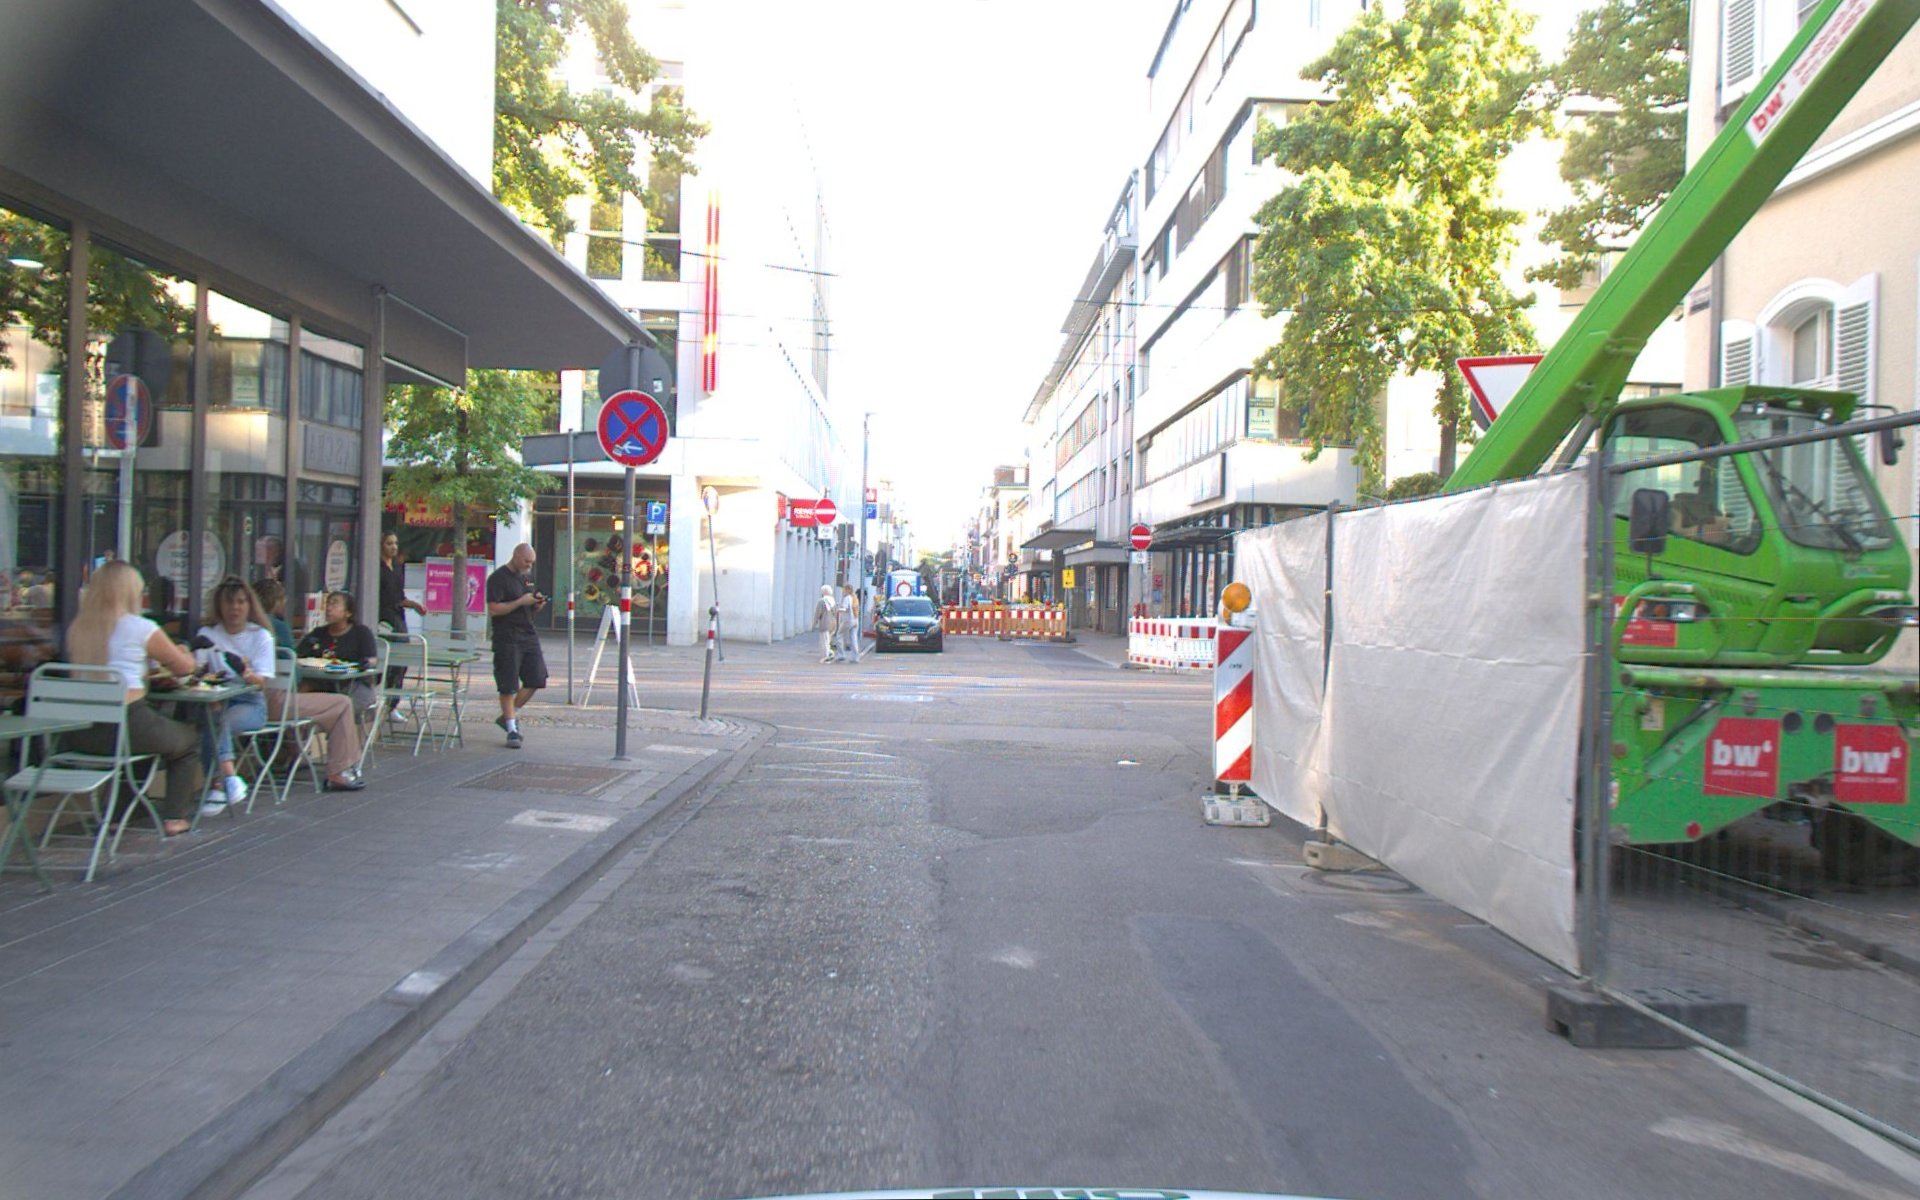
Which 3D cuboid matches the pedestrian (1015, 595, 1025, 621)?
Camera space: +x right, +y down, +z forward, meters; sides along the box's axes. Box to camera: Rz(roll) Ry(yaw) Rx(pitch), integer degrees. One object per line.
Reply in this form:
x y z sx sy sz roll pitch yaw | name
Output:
3.503 0.483 96.424 0.512 1.490 0.719 1 0 7 | pedestrian

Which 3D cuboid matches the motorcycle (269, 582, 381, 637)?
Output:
-11.177 0.162 29.157 1.722 0.936 0.640 1 0 -11 | motorcycle

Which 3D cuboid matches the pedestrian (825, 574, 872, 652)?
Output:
-2.397 0.274 35.556 0.858 1.656 0.607 1 0 44 | pedestrian

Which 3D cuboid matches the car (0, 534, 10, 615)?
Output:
-20.848 -0.570 34.186 1.922 1.531 3.963 1 3 -28 | car

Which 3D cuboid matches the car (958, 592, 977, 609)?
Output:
0.814 0.054 183.671 1.953 1.807 3.999 0 0 -1 | car

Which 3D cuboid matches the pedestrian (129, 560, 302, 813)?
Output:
-4.047 0.453 9.029 0.561 1.297 0.713 3 0 -1 | pedestrian

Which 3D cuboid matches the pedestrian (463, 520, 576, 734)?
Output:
-3.599 0.216 13.512 0.680 1.697 0.499 3 0 -38 | pedestrian

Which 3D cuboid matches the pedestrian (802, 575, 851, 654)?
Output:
-2.834 0.305 35.104 0.858 1.656 0.607 1 0 44 | pedestrian

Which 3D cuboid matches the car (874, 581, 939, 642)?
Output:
-1.469 0.289 44.347 1.597 1.577 3.140 1 0 -4 | car

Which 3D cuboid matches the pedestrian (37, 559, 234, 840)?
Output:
-4.057 0.467 8.181 0.561 1.297 0.713 3 0 -1 | pedestrian

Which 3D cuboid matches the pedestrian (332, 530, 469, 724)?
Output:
-5.123 0.238 15.134 0.886 1.697 0.794 3 0 43 | pedestrian

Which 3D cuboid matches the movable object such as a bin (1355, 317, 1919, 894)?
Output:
4.357 0.015 10.550 2.552 2.888 4.449 0 0 -1 | movable object such as a bin

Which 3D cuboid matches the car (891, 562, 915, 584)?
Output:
-4.809 -2.246 139.195 1.953 1.807 3.999 0 0 -1 | car

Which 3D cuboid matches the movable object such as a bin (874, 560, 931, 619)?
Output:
-2.038 -0.372 59.488 1.953 2.049 4.000 0 0 -1 | movable object such as a bin

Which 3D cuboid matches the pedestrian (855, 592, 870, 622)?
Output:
-4.919 0.337 83.751 0.701 1.490 0.525 0 0 1 | pedestrian

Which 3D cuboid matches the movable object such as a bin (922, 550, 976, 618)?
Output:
-0.496 -0.658 69.695 2.113 2.710 4.571 1 0 -1 | movable object such as a bin

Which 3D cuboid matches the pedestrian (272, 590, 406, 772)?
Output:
-4.086 0.515 10.920 0.561 1.133 0.713 3 0 -1 | pedestrian

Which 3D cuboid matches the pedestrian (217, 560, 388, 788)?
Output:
-3.960 0.428 10.009 0.688 1.297 0.713 3 0 -1 | pedestrian

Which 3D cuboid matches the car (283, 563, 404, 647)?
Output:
-13.077 0.071 34.964 1.922 1.531 3.963 1 3 -28 | car
